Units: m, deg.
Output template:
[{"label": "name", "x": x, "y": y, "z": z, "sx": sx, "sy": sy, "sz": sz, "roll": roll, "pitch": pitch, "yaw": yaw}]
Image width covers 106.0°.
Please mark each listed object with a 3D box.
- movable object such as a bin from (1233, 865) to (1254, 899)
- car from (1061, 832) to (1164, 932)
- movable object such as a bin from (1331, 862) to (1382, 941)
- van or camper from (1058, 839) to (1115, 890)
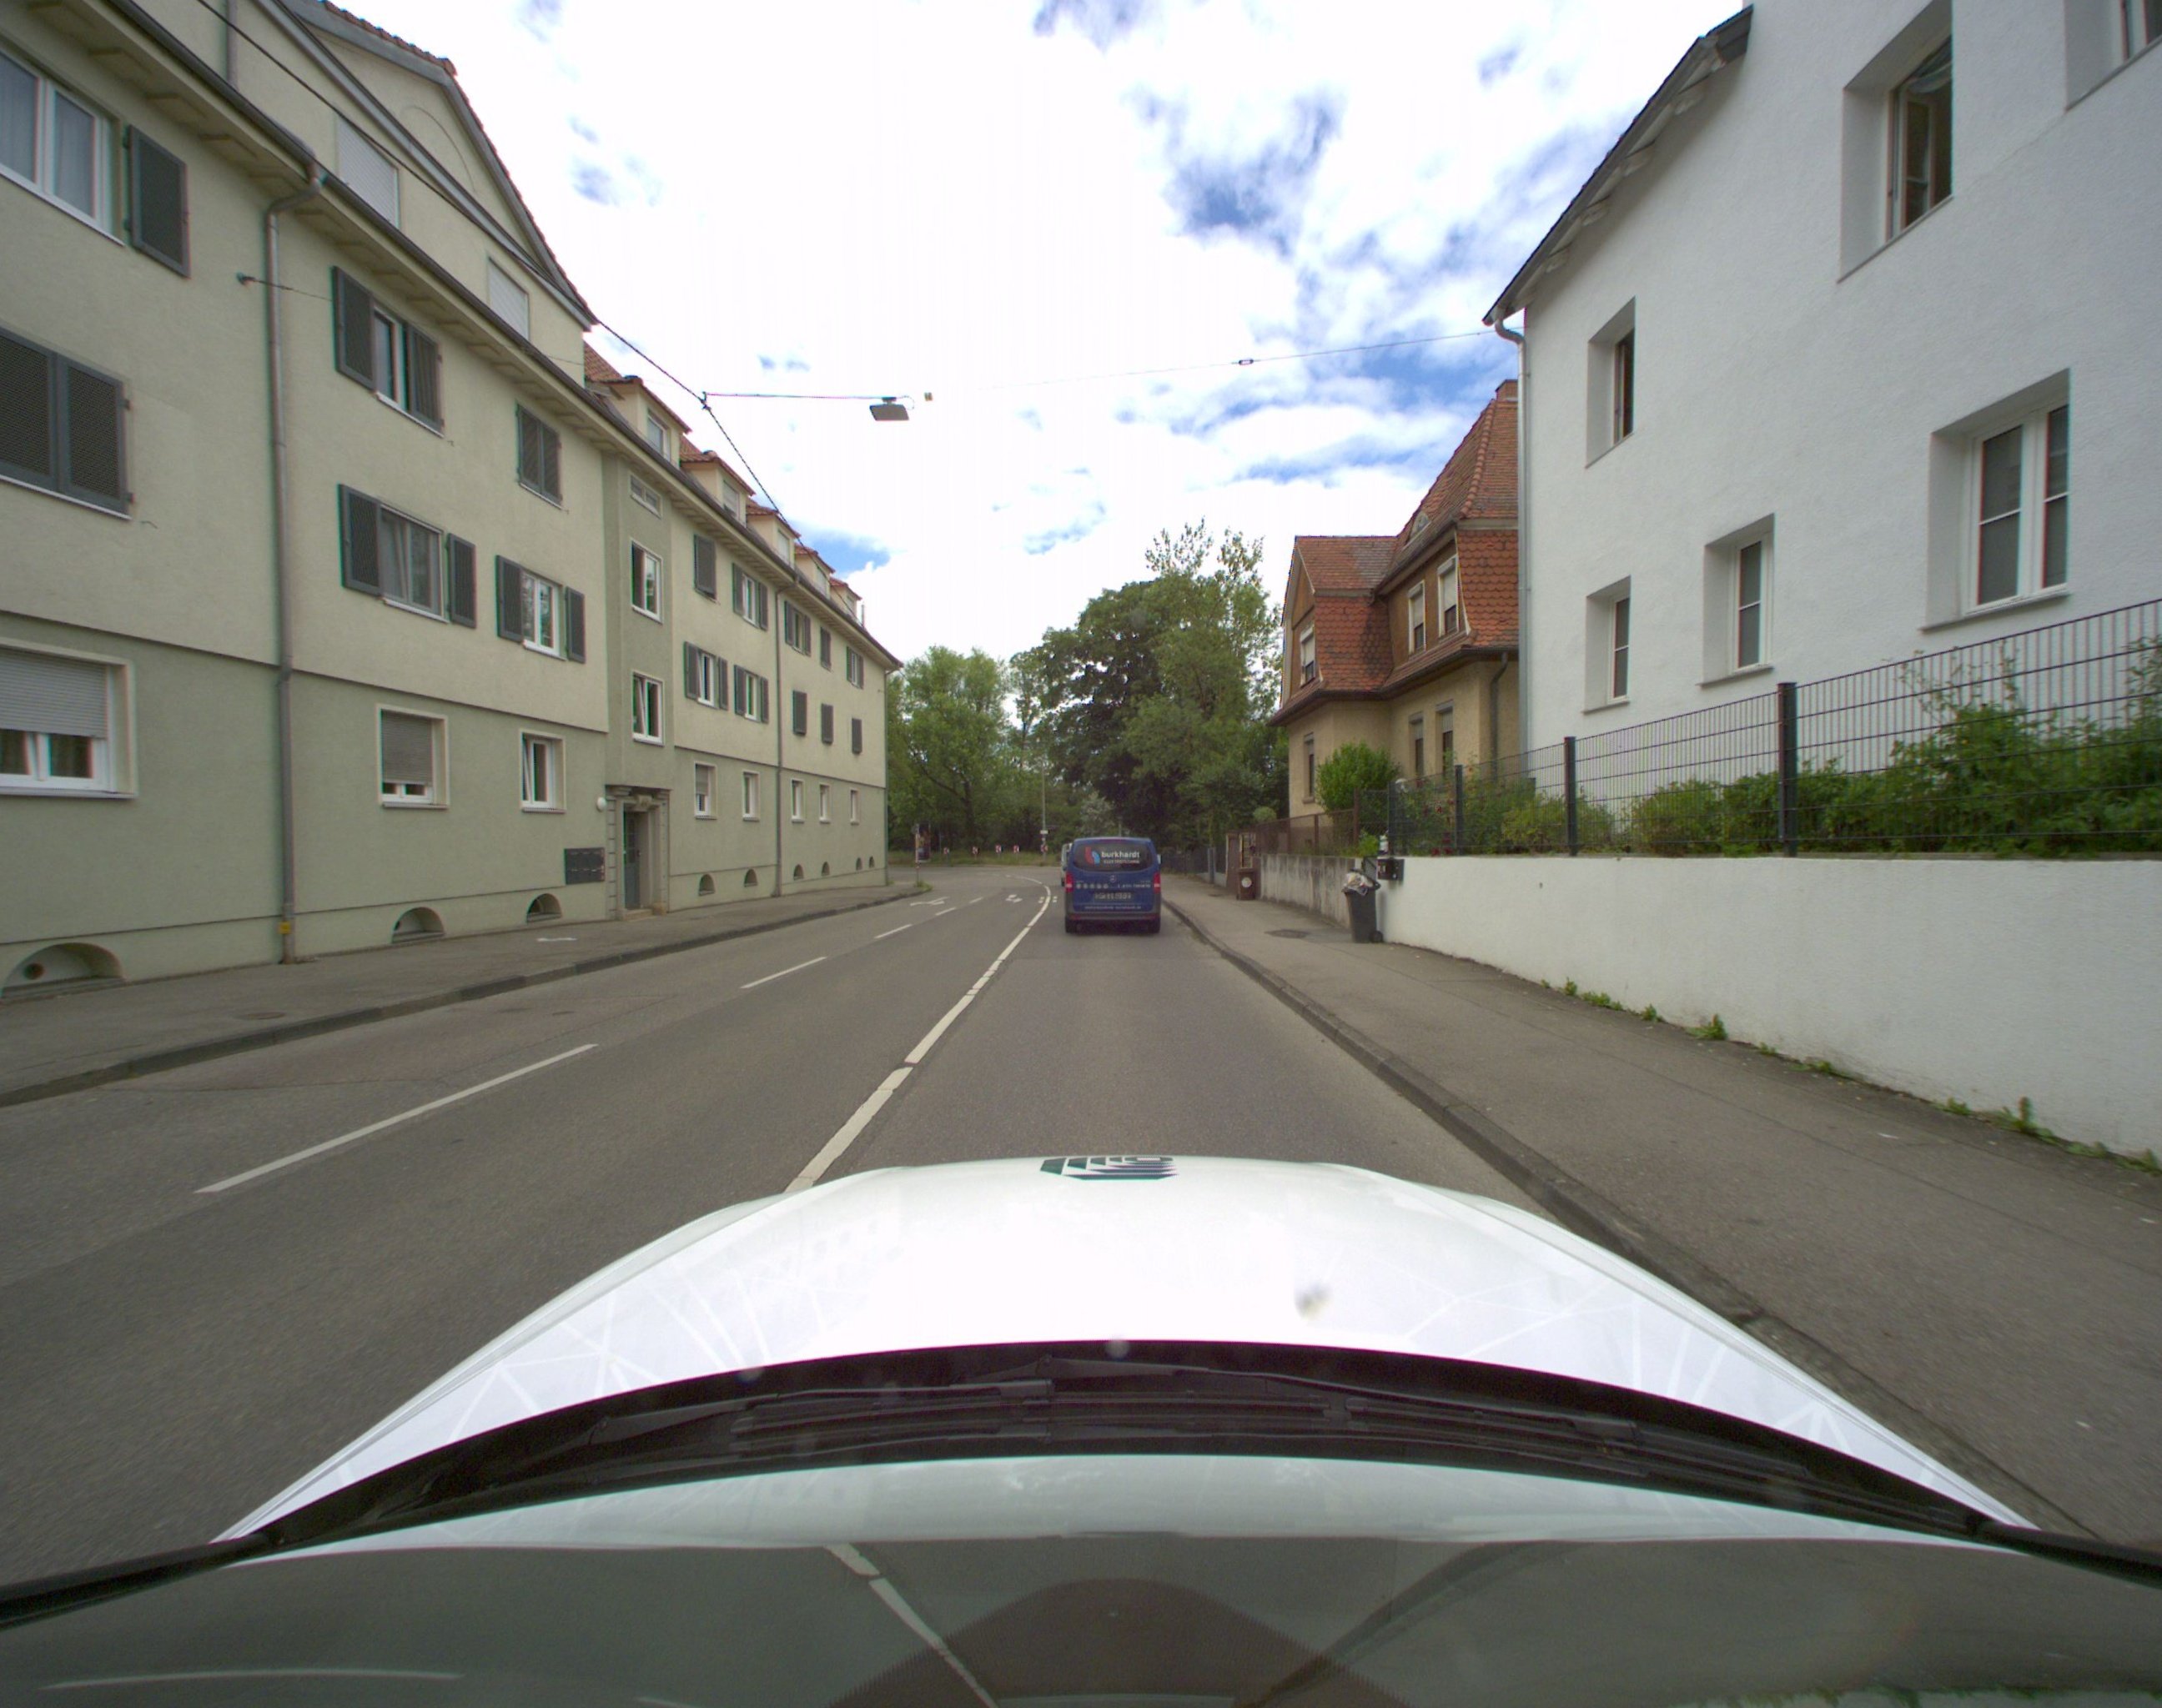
[{"label": "movable object such as a bin", "x": 4.646, "y": 0.791, "z": 23.303, "sx": 0.460, "sy": 0.924, "sz": 0.566, "roll": -4, "pitch": 0, "yaw": 0}, {"label": "car", "x": 0.542, "y": 0.513, "z": 17.200, "sx": 1.908, "sy": 1.837, "sz": 4.291, "roll": 0, "pitch": 0, "yaw": -1}, {"label": "movable object such as a bin", "x": 4.375, "y": 0.742, "z": 12.955, "sx": 0.526, "sy": 1.178, "sz": 0.634, "roll": -4, "pitch": 0, "yaw": 0}, {"label": "van or camper", "x": 0.158, "y": 0.392, "z": 35.662, "sx": 2.015, "sy": 1.956, "sz": 4.890, "roll": -4, "pitch": 1, "yaw": -4}]
